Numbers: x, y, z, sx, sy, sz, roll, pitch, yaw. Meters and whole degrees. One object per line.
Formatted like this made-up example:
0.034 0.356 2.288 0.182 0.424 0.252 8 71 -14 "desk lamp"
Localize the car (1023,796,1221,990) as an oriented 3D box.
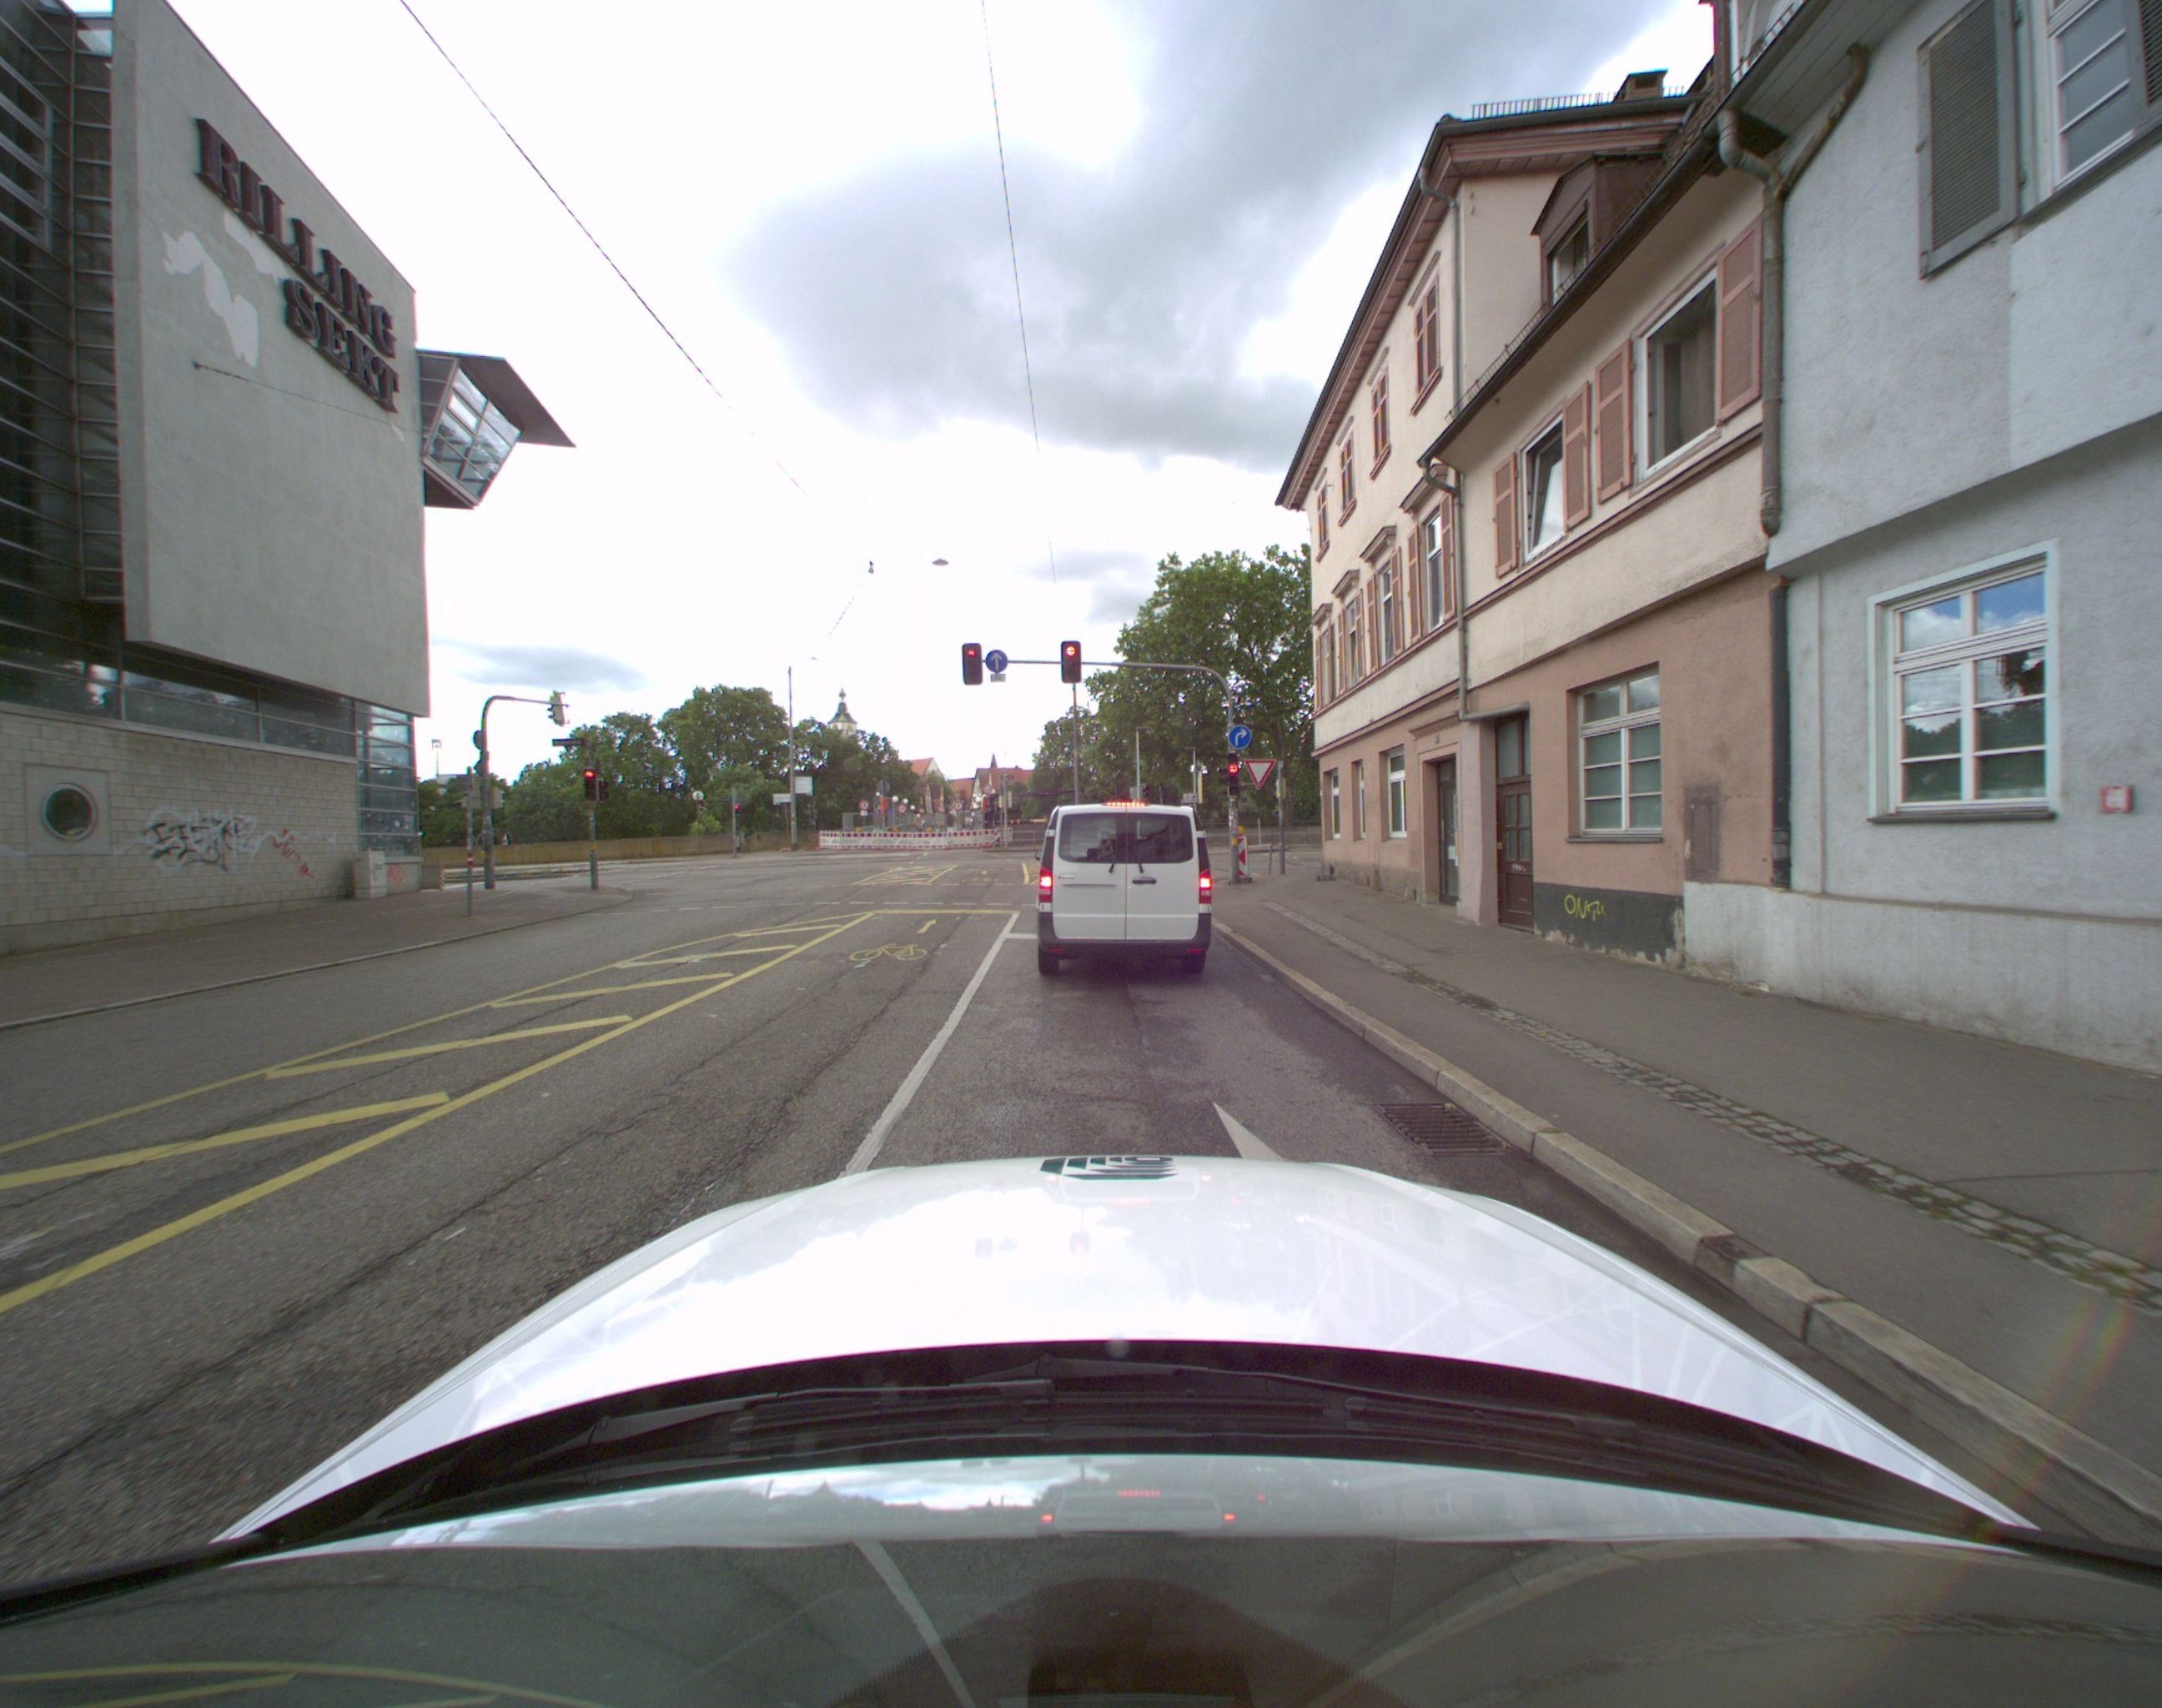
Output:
0.342 0.287 10.307 1.989 1.922 4.246 -1 3 -2 "car"
